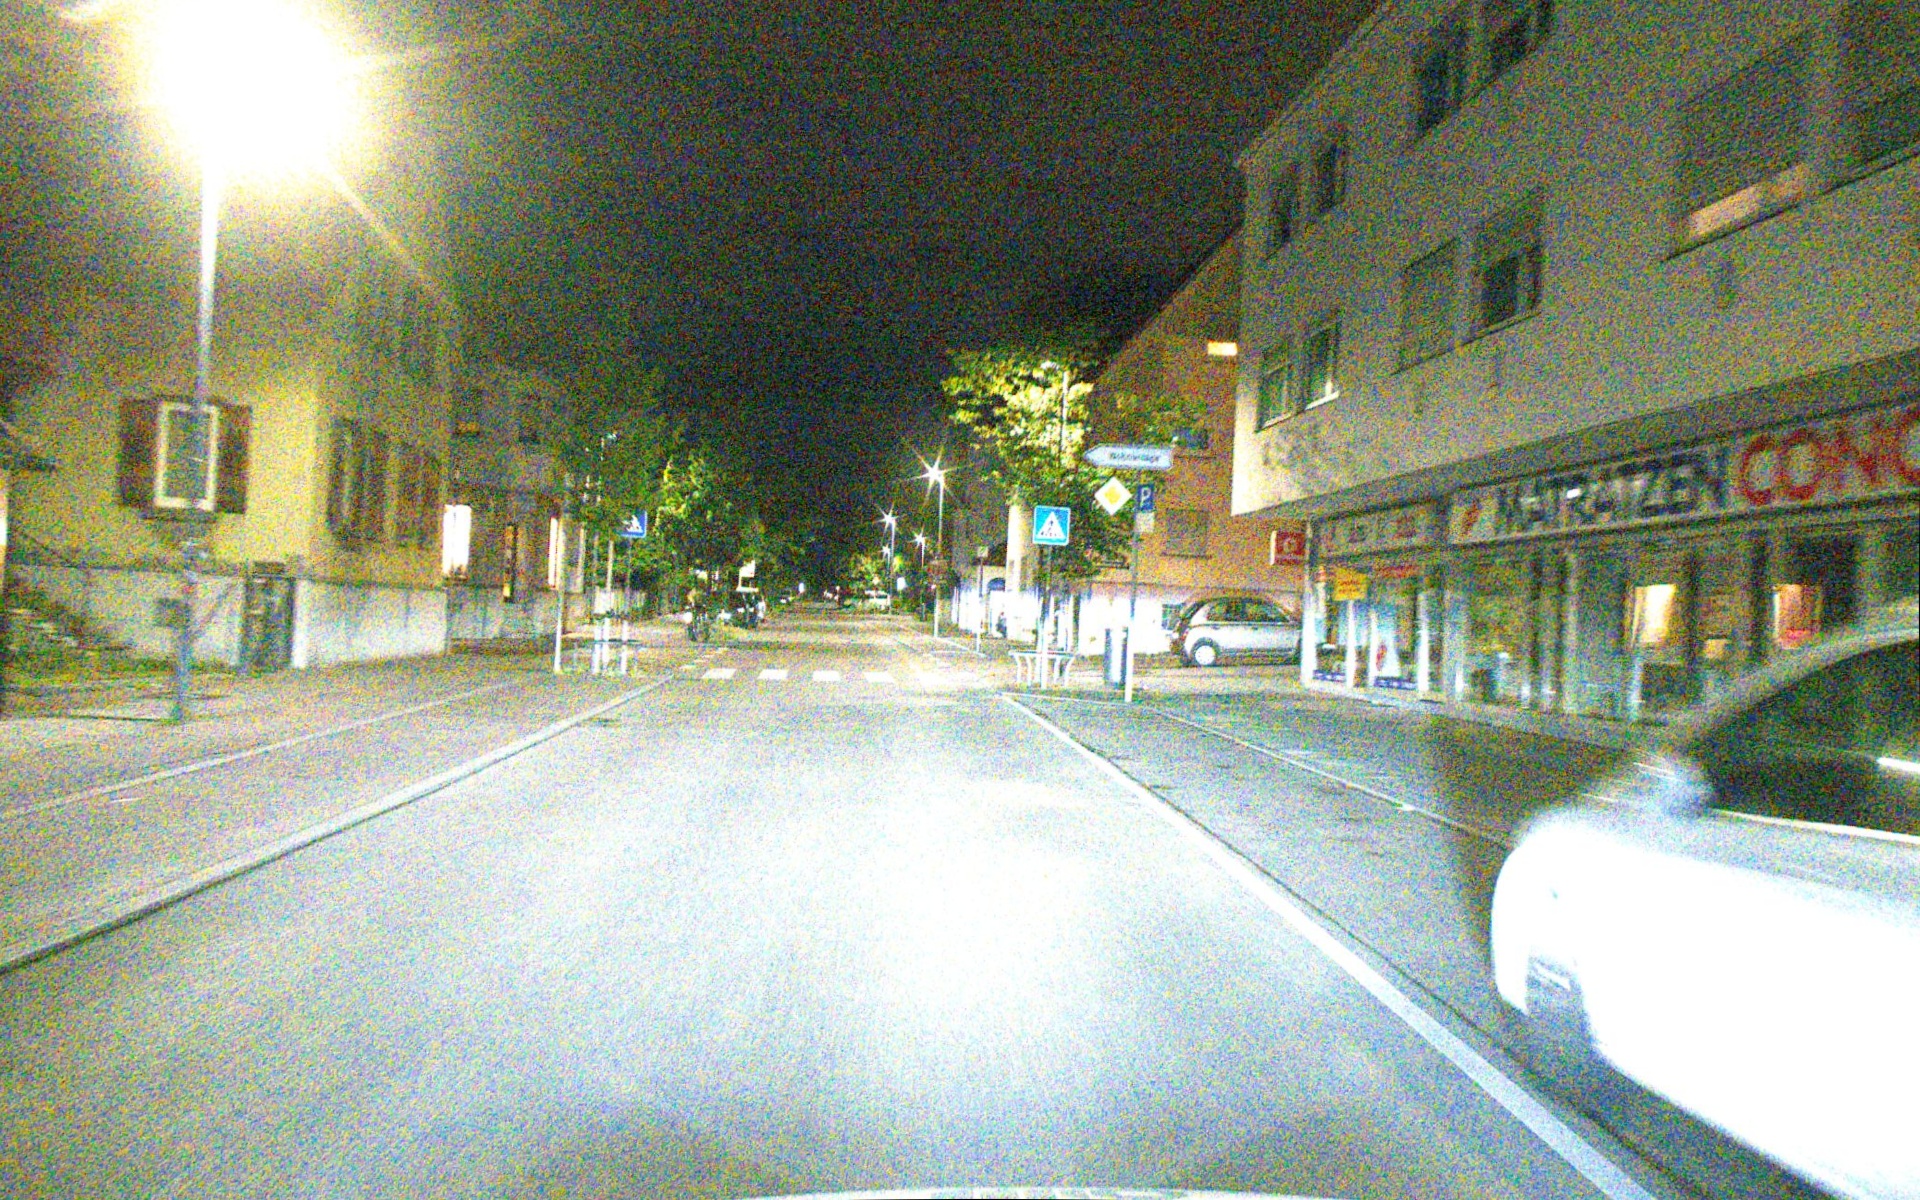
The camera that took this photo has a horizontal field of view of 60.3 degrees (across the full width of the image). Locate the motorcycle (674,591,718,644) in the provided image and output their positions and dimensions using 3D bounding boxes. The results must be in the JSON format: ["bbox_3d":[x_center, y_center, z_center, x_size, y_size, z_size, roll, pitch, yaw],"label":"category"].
[{"bbox_3d":[-7.595,0.503,47.669,0.730,1.477,2.196,2,0,3],"label":"motorcycle"}]

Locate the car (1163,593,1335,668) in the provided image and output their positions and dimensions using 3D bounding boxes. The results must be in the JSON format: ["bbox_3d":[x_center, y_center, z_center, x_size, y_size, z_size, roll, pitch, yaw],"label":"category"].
[{"bbox_3d":[6.487,0.666,37.314,3.438,1.551,1.818,-1,0,-6],"label":"car"}]

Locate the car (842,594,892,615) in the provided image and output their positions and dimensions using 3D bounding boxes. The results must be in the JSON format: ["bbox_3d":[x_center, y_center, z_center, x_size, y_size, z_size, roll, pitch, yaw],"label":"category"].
[{"bbox_3d":[-9.707,0.466,172.572,5.083,2.049,2.099,1,0,-7],"label":"car"}]

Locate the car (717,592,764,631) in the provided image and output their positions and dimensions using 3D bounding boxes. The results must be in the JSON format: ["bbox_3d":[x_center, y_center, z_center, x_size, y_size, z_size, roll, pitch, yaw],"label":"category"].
[{"bbox_3d":[-9.519,0.485,71.961,1.732,1.545,4.274,3,0,-5],"label":"car"}]

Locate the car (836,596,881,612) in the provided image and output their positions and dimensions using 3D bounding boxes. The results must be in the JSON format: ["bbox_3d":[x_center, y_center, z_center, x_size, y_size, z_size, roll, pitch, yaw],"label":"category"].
[{"bbox_3d":[-12.059,0.485,197.203,5.073,1.920,2.103,1,0,4],"label":"car"}]

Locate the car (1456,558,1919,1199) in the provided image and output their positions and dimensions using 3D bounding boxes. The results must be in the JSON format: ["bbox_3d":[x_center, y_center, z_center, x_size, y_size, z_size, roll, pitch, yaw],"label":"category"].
[{"bbox_3d":[2.745,0.734,3.802,1.708,1.596,4.205,1,0,-4],"label":"car"}]

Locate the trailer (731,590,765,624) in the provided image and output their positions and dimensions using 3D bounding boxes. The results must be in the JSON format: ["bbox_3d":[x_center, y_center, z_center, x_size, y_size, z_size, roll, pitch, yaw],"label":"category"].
[{"bbox_3d":[-11.424,0.385,89.107,1.419,1.717,3.424,4,-1,-3],"label":"trailer"}]

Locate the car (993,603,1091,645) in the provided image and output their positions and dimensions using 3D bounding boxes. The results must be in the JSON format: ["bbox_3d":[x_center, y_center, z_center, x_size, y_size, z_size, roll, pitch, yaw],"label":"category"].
[{"bbox_3d":[3.159,0.929,64.553,3.637,1.499,1.729,2,-1,-3],"label":"car"}]

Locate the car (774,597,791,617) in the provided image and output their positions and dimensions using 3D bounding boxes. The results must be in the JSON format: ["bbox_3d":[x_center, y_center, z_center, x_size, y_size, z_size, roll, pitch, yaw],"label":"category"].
[{"bbox_3d":[-20.966,0.836,195.396,1.790,2.021,4.458,4,-3,-7],"label":"car"}]

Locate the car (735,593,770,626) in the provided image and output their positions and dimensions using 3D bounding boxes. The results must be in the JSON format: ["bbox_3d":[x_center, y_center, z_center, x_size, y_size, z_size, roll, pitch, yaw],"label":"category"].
[{"bbox_3d":[-10.770,0.500,85.911,1.640,1.548,2.974,5,-1,-7],"label":"car"}]

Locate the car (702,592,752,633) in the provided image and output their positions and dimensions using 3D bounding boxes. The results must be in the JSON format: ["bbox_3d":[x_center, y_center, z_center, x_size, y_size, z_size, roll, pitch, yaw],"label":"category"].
[{"bbox_3d":[-9.378,0.479,66.816,1.655,1.537,4.274,2,0,-5],"label":"car"}]
